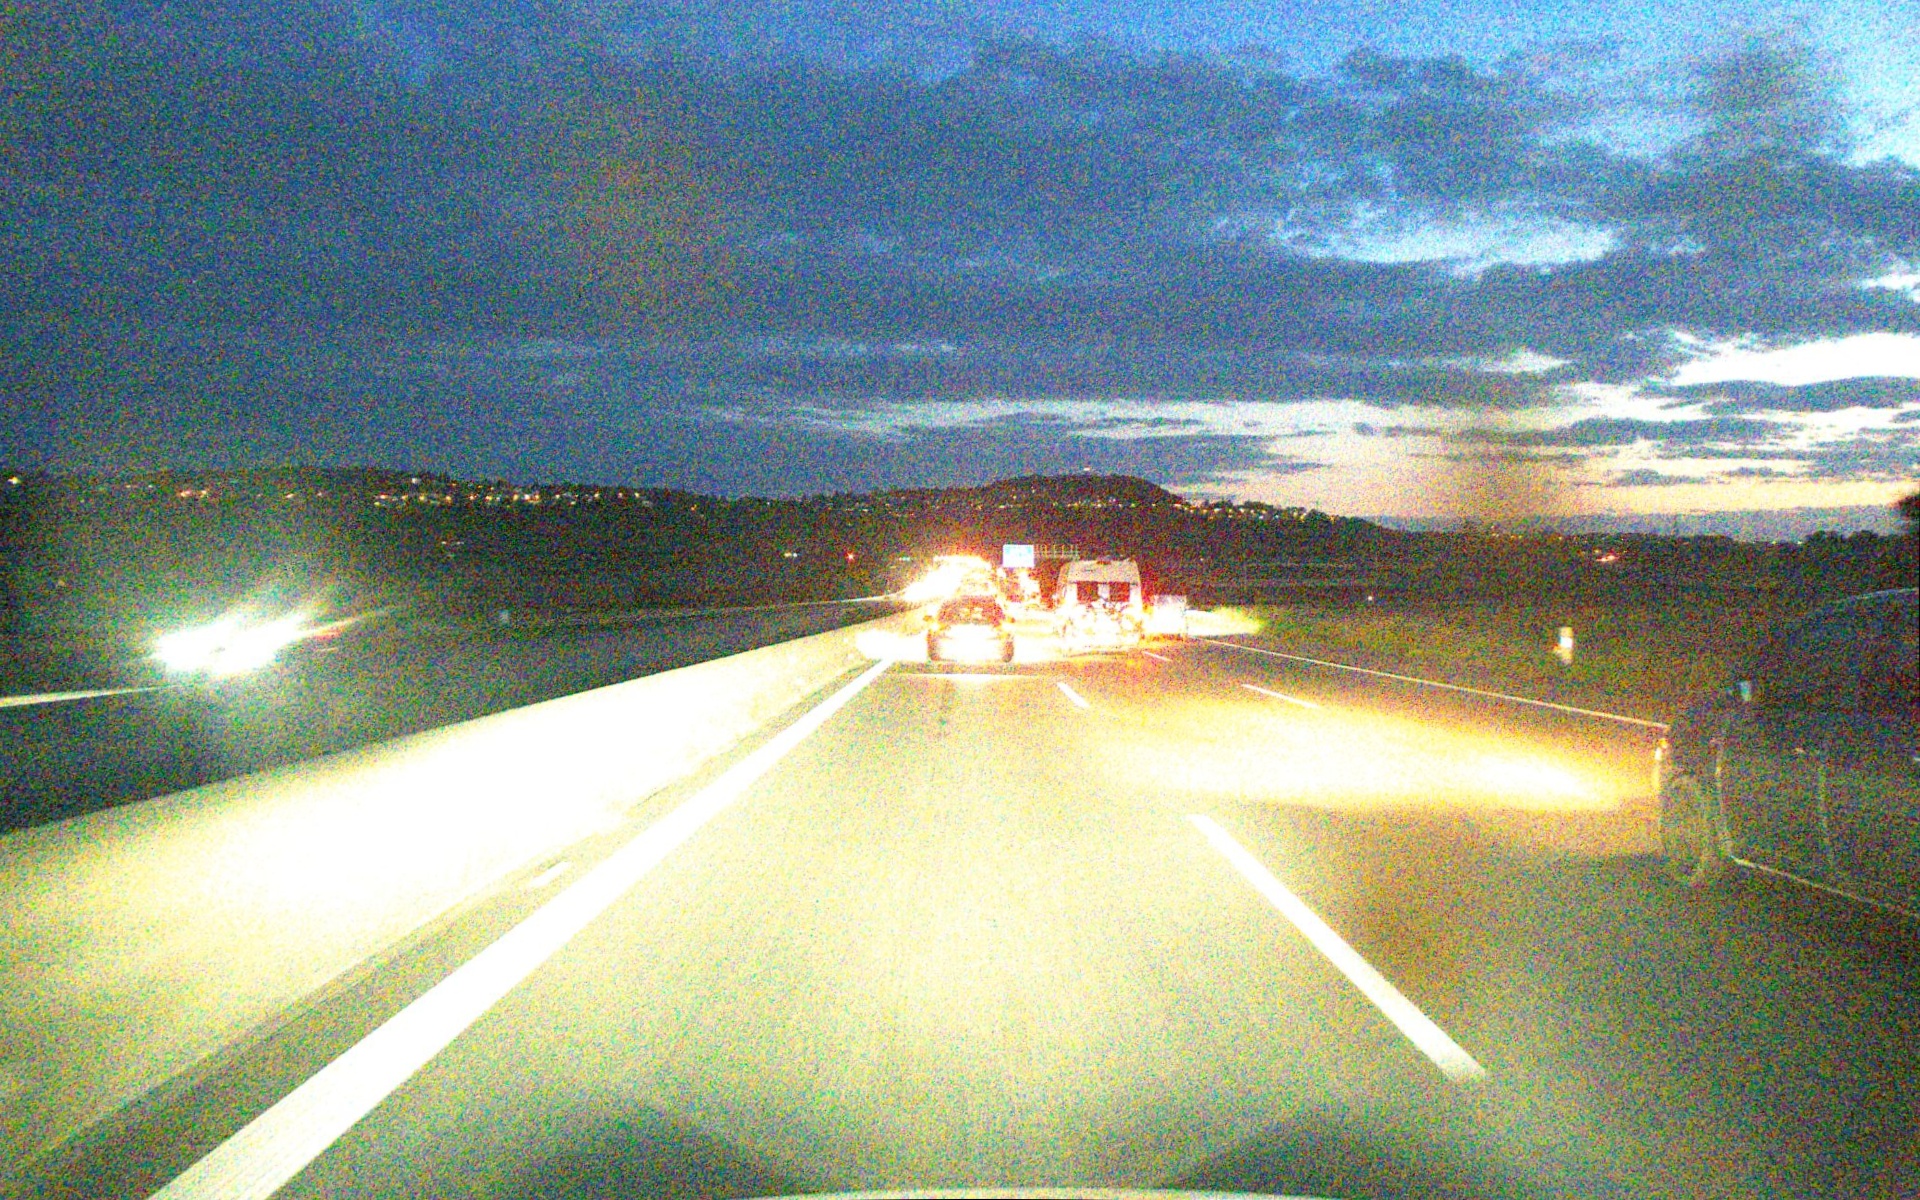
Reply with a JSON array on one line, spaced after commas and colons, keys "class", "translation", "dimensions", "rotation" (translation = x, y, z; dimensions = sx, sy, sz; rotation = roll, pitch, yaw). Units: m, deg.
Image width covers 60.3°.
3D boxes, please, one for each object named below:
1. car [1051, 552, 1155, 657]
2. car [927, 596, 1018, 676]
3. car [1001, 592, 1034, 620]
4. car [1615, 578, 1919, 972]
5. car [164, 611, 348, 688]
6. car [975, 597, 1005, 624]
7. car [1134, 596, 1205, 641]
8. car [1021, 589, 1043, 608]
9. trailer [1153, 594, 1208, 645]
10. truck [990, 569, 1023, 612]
[{"class": "car", "translation": [3.694, 0.080, 43.805], "dimensions": [2.303, 2.579, 5.701], "rotation": [-1, 1, 1]}, {"class": "car", "translation": [0.268, 0.685, 33.845], "dimensions": [1.757, 1.494, 3.773], "rotation": [1, 1, 1]}, {"class": "car", "translation": [4.173, 0.419, 120.799], "dimensions": [2.303, 1.947, 4.723], "rotation": [-1, 0, 1]}, {"class": "car", "translation": [4.762, 0.712, 7.713], "dimensions": [1.612, 1.624, 4.509], "rotation": [0, 0, 0]}, {"class": "car", "translation": [-15.293, 1.025, 36.259], "dimensions": [1.953, 1.444, 4.982], "rotation": [-3, 0, -1]}, {"class": "car", "translation": [1.765, 0.619, 98.403], "dimensions": [1.709, 1.465, 4.368], "rotation": [-1, 1, 1]}, {"class": "car", "translation": [7.759, 0.660, 61.774], "dimensions": [2.118, 1.591, 4.723], "rotation": [0, 0, 1]}, {"class": "car", "translation": [8.301, -0.166, 191.156], "dimensions": [2.303, 2.112, 4.723], "rotation": [-1, 1, 1]}, {"class": "trailer", "translation": [7.736, 0.672, 58.144], "dimensions": [1.534, 1.723, 2.821], "rotation": [0, 0, 0]}, {"class": "truck", "translation": [4.390, -0.878, 157.659], "dimensions": [2.724, 4.024, 7.991], "rotation": [-1, 0, -1]}]
